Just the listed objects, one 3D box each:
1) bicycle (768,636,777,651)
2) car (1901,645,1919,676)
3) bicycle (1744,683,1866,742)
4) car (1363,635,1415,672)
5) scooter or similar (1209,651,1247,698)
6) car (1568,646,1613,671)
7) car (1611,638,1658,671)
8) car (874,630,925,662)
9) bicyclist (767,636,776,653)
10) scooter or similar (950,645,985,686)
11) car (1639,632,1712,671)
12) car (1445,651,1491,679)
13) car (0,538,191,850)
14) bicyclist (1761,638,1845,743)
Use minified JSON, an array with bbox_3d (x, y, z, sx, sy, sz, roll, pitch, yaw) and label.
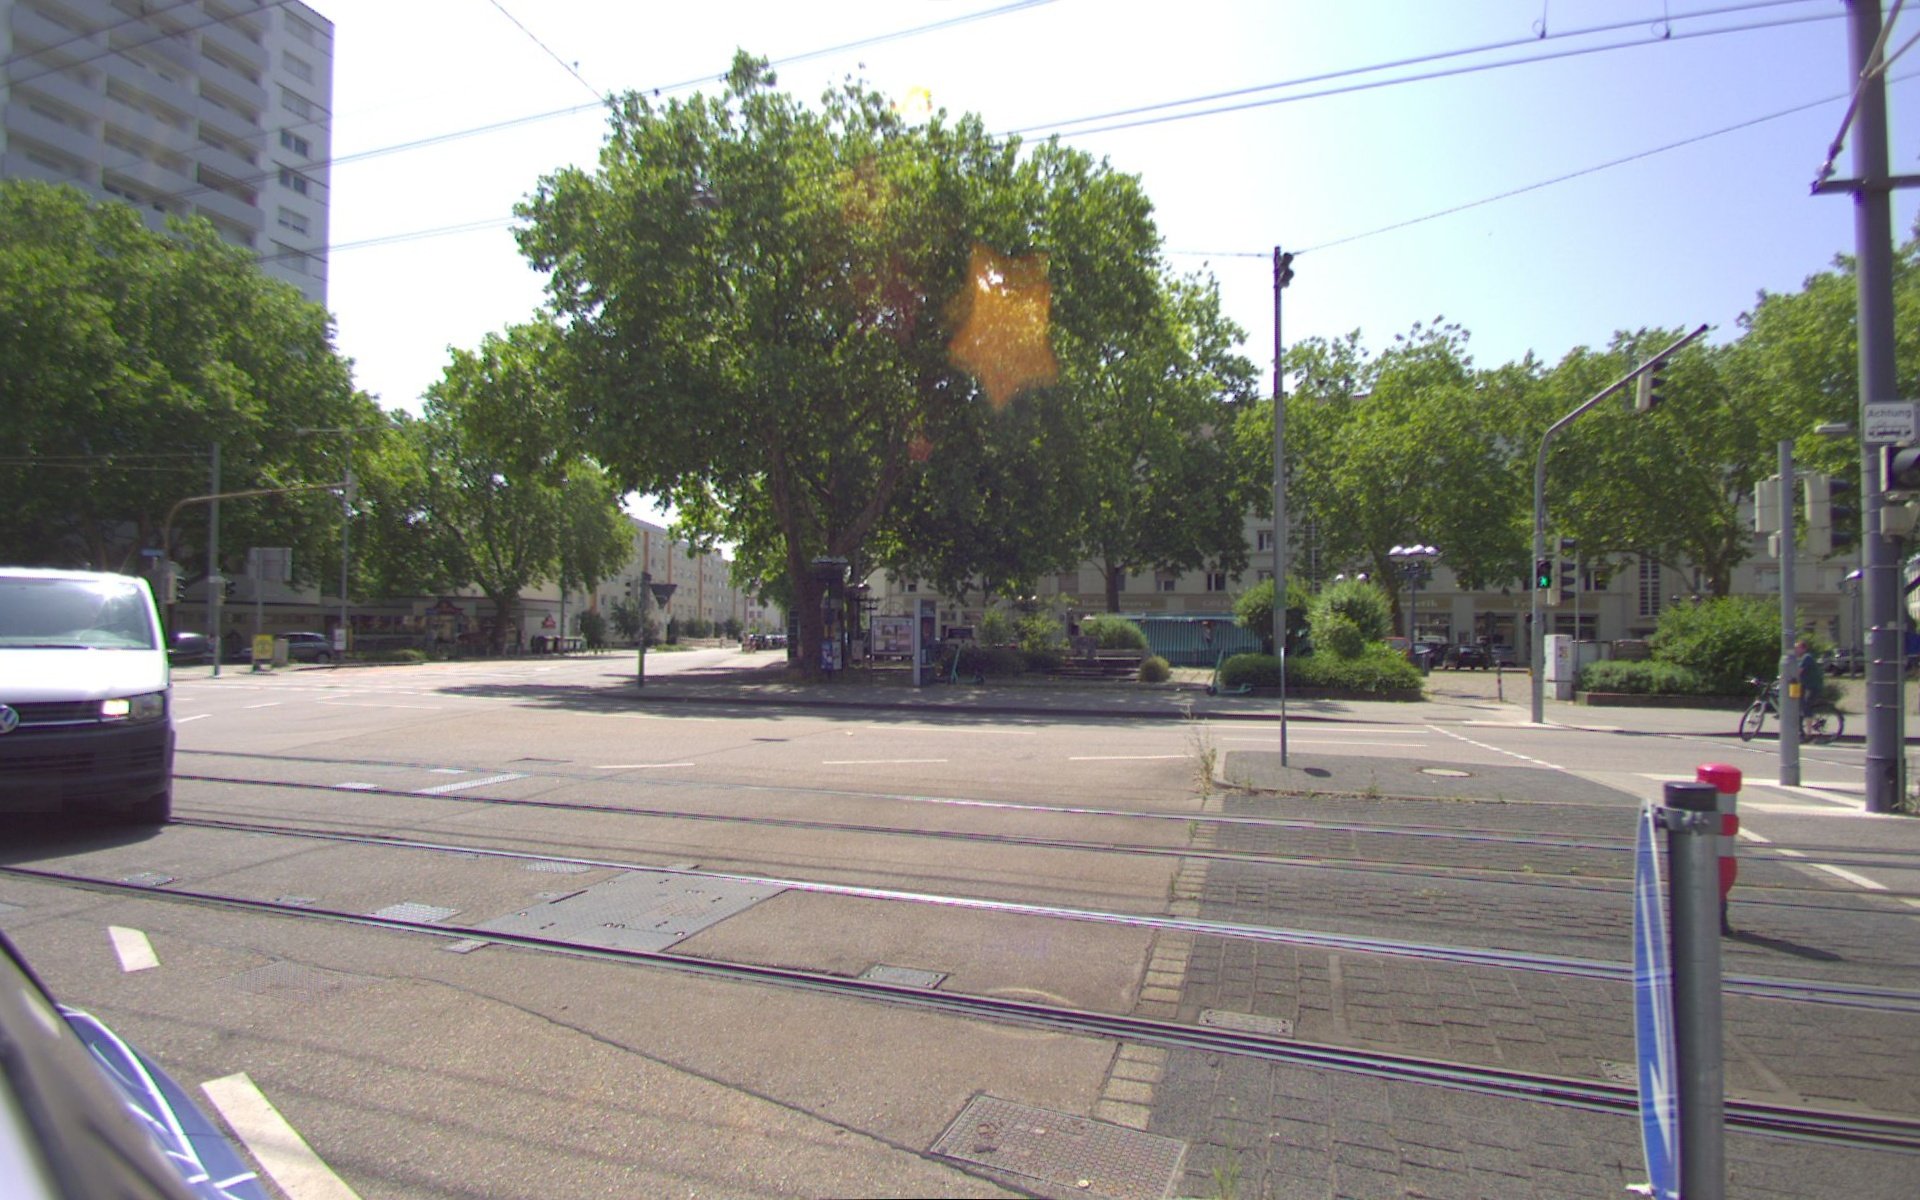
[{"bbox_3d":[-19.169,4.446,103.488,0.589,1.566,1.842,0,-1,1],"label":"bicycle"},{"bbox_3d":[47.130,2.882,48.158,1.717,1.499,3.832,0,-2,14],"label":"car"},{"bbox_3d":[14.036,1.858,16.850,1.468,0.889,0.495,0,-1,15],"label":"bicycle"},{"bbox_3d":[17.172,2.115,40.598,1.459,1.394,3.327,0,-1,16],"label":"car"},{"bbox_3d":[6.555,1.813,24.735,0.857,1.129,0.255,-1,-2,29],"label":"scooter or similar"},{"bbox_3d":[40.341,3.718,64.841,1.610,1.420,3.900,0,-1,20],"label":"car"},{"bbox_3d":[42.958,3.446,64.502,1.562,1.964,3.900,0,-1,20],"label":"car"},{"bbox_3d":[-4.027,3.036,67.690,1.986,2.029,3.972,0,-1,21],"label":"car"},{"bbox_3d":[-19.184,4.521,102.985,0.695,1.749,0.787,0,-1,0],"label":"bicyclist"},{"bbox_3d":[0.209,1.863,28.792,0.973,1.129,0.255,-1,-2,29],"label":"scooter or similar"},{"bbox_3d":[38.409,2.709,54.436,2.149,1.964,3.973,0,-1,20],"label":"car"},{"bbox_3d":[28.911,3.649,57.703,1.607,1.420,3.906,0,-1,16],"label":"car"},{"bbox_3d":[-7.712,0.683,8.237,1.825,1.968,4.948,2,-4,-42],"label":"car"},{"bbox_3d":[14.059,1.491,16.896,0.860,1.698,0.637,0,-1,14],"label":"bicyclist"}]
